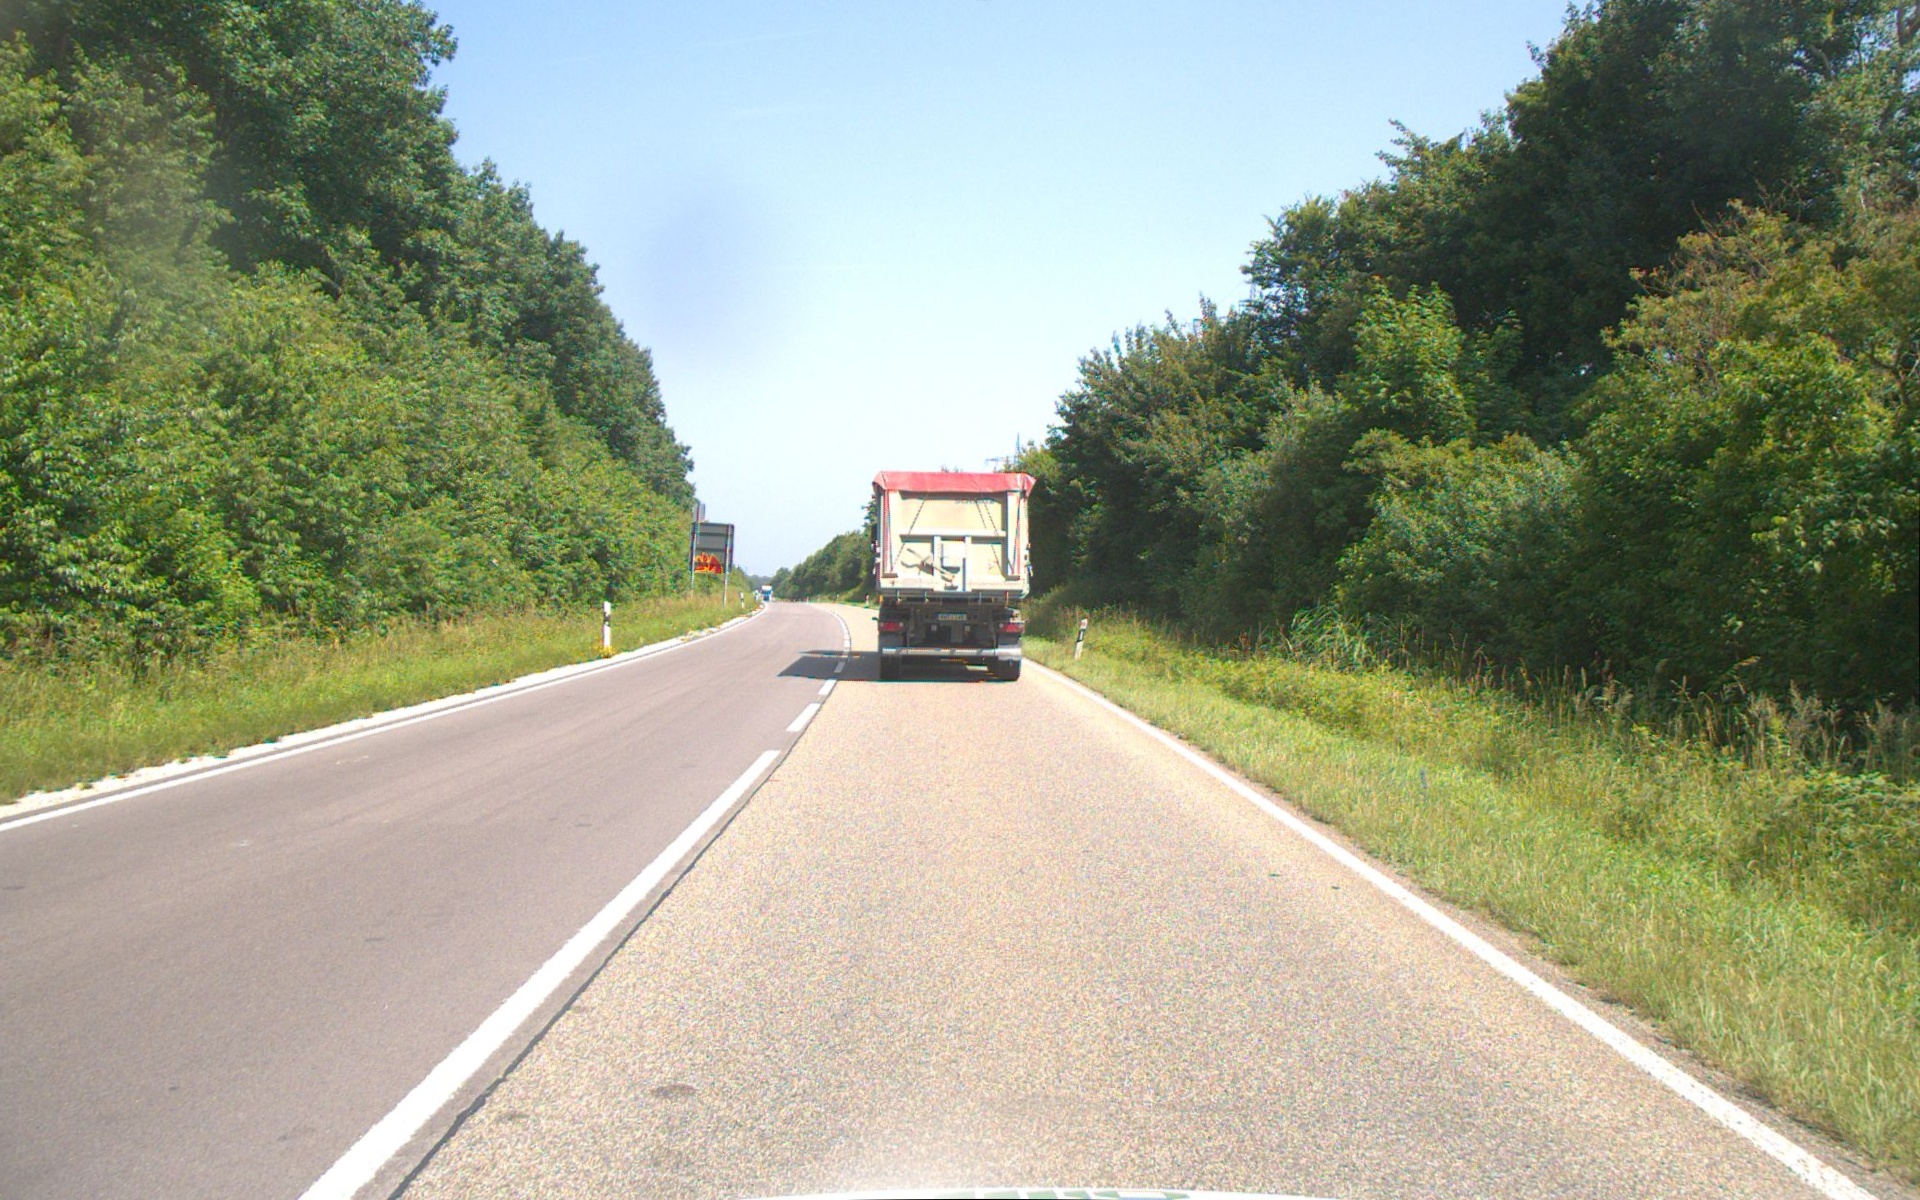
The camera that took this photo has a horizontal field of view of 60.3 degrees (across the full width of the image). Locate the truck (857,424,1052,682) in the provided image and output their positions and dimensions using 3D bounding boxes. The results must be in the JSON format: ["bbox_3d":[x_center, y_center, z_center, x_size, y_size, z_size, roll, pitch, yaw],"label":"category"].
[{"bbox_3d":[-0.457,-0.801,32.189,2.836,4.031,11.921,1,1,-5],"label":"truck"}]
